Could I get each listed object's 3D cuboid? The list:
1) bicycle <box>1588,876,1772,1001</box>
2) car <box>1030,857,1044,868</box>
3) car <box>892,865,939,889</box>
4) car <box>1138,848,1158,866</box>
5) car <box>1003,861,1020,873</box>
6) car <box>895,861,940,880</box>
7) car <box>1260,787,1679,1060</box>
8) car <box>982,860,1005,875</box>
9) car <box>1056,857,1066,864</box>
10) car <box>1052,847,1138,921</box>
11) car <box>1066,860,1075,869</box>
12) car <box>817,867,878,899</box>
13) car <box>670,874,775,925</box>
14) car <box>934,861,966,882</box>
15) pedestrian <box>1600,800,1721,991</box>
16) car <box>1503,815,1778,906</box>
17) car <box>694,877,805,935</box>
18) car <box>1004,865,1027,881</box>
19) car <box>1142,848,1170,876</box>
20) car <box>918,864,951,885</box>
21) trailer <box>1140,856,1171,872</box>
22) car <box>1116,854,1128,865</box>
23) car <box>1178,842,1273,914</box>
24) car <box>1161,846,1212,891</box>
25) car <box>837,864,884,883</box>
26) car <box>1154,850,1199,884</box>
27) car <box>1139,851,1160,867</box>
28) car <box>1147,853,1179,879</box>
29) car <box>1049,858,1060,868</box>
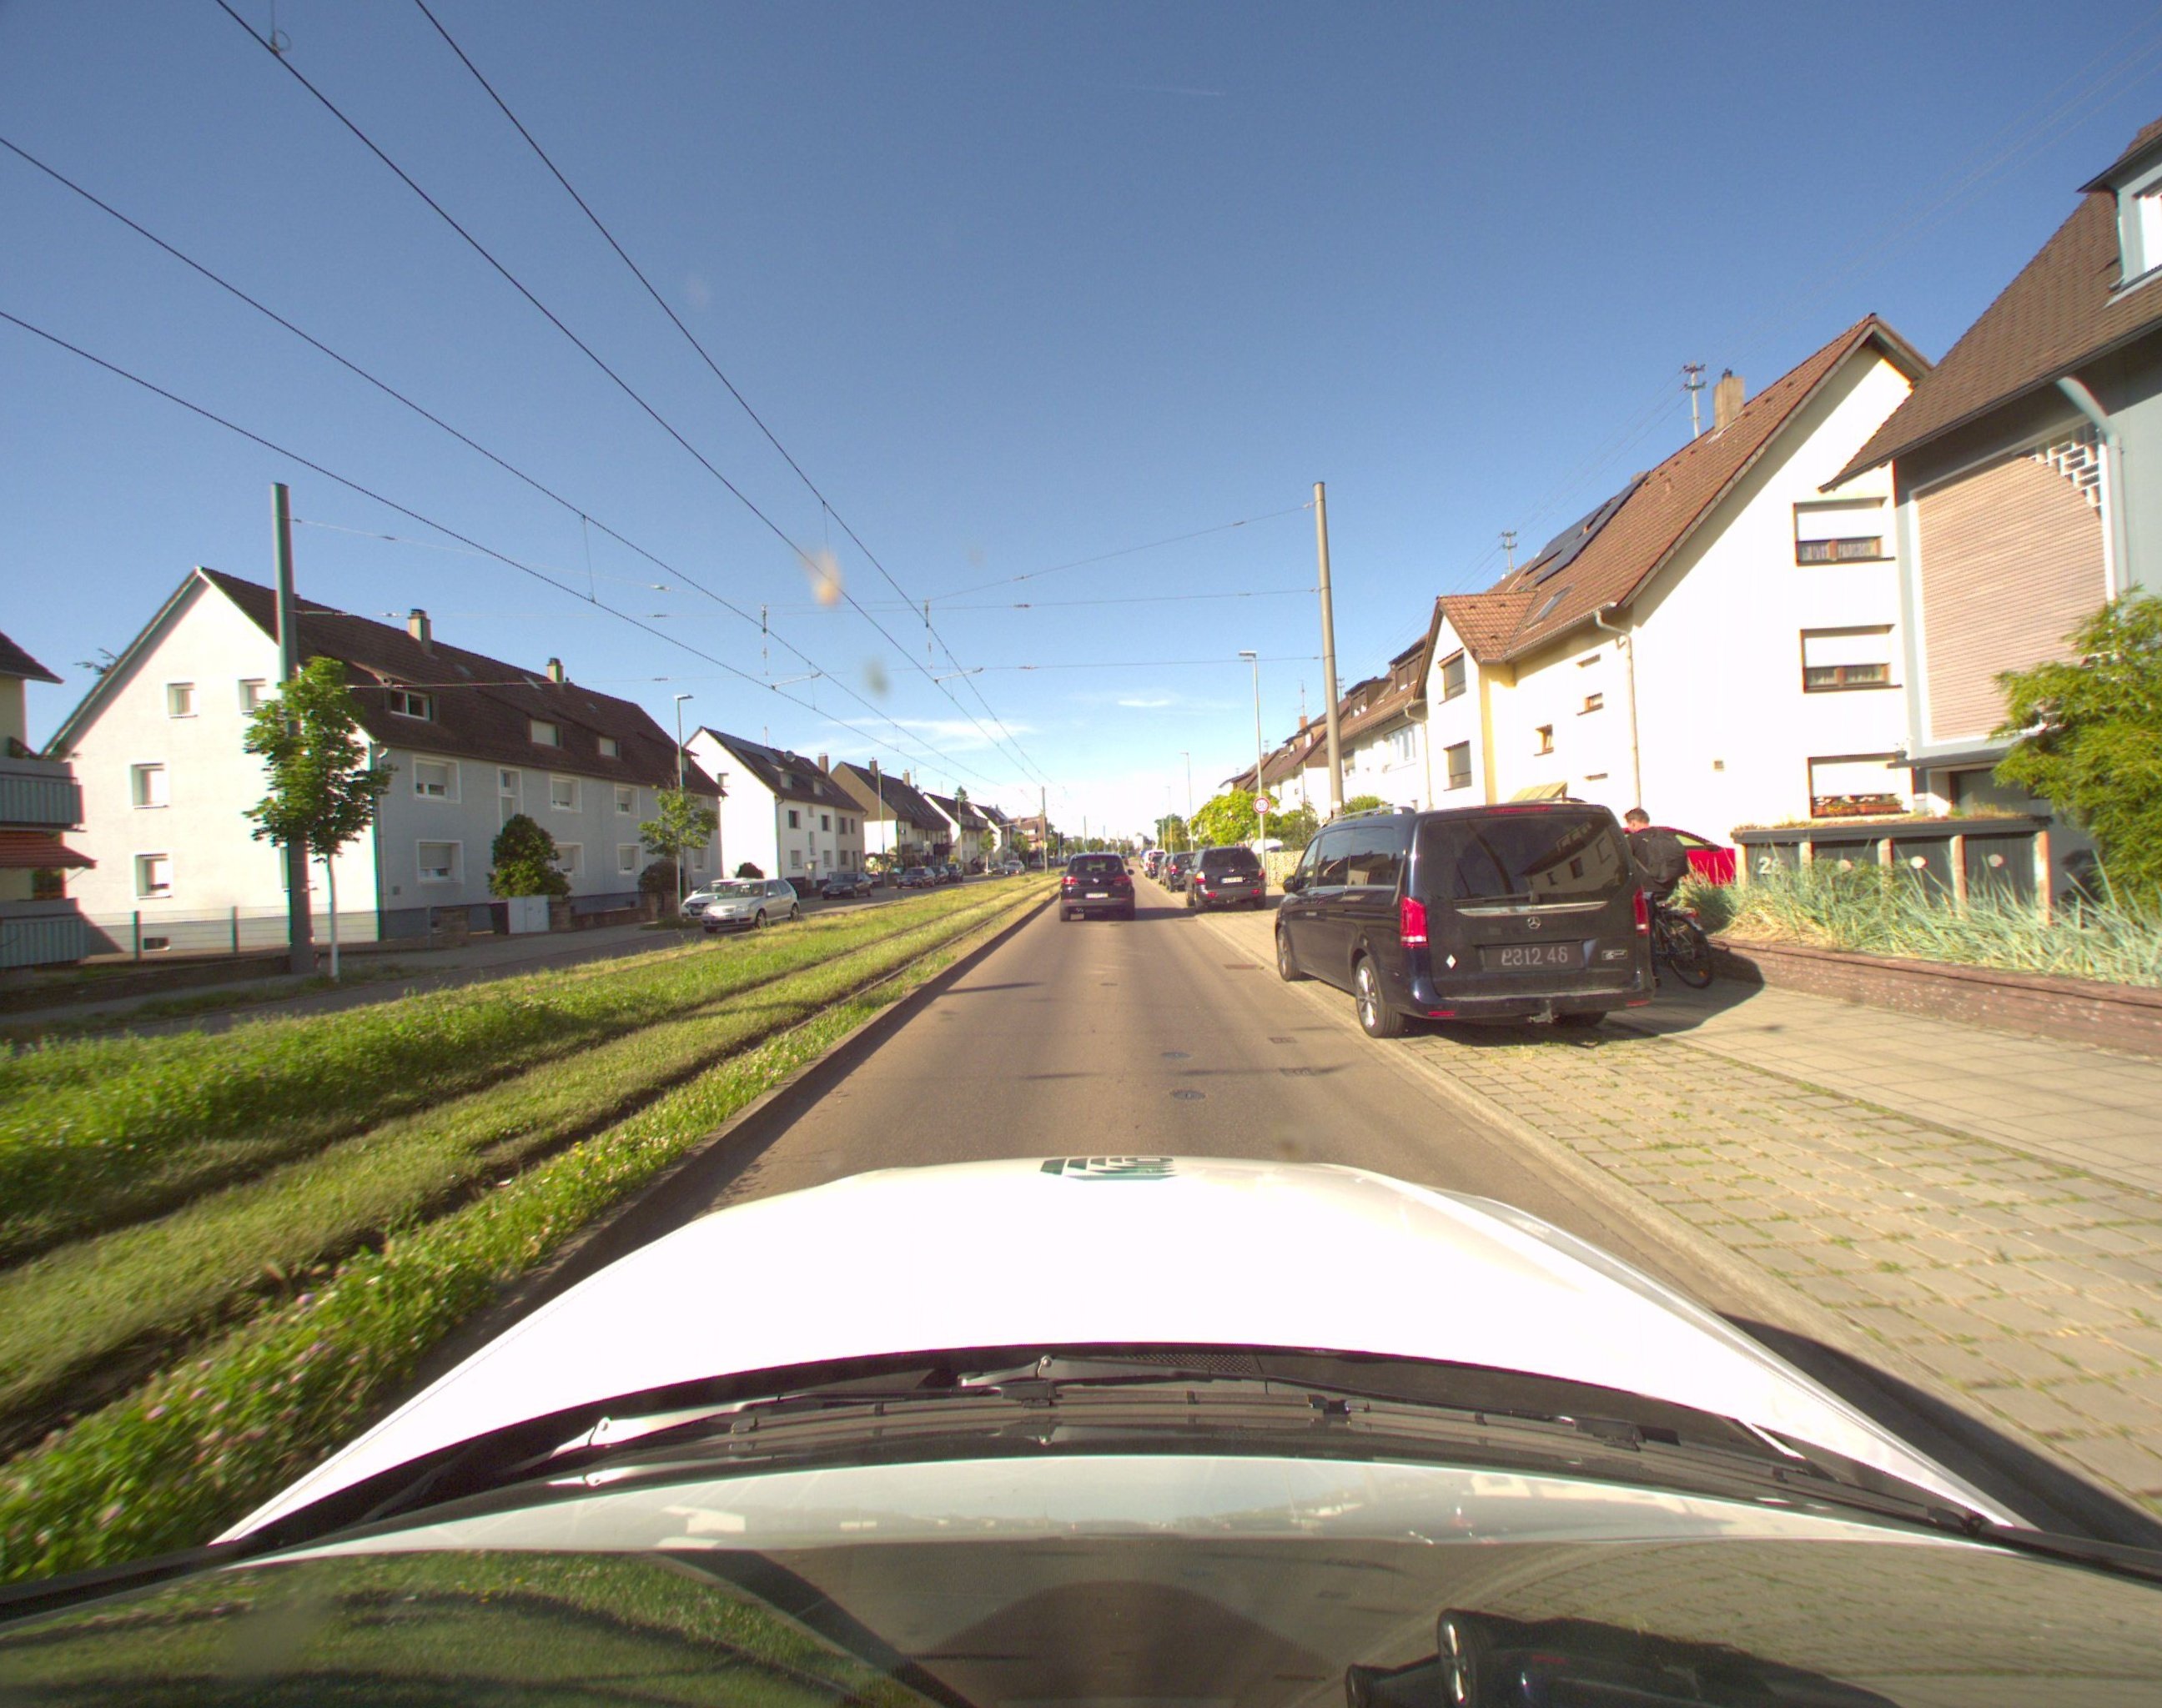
[{"bbox_3d":[5.576,0.739,7.700,0.598,0.979,1.564,-5,-1,4],"label":"bicycle"},{"bbox_3d":[-6.787,1.303,126.032,1.652,1.496,3.583,-3,0,3],"label":"car"},{"bbox_3d":[-11.681,1.584,57.803,1.868,1.523,4.888,-2,0,5],"label":"car"},{"bbox_3d":[7.325,0.336,90.051,1.985,1.862,4.921,-3,0,3],"label":"car"},{"bbox_3d":[-8.758,1.615,102.933,1.612,1.409,3.720,-3,-2,3],"label":"car"},{"bbox_3d":[-16.630,1.684,82.840,4.154,1.616,1.758,-3,0,-2],"label":"car"},{"bbox_3d":[3.303,0.504,8.259,1.954,1.836,4.929,-3,0,2],"label":"car"},{"bbox_3d":[-9.640,1.508,90.204,1.610,1.453,3.726,-3,0,8],"label":"car"},{"bbox_3d":[-3.790,1.227,153.707,1.509,1.361,3.592,-3,0,2],"label":"car"},{"bbox_3d":[0.250,0.718,21.038,1.808,1.671,4.251,-1,-1,-4],"label":"car"},{"bbox_3d":[-2.193,2.233,171.048,1.459,1.677,3.290,-3,-1,3],"label":"car"},{"bbox_3d":[-12.431,1.527,43.674,1.783,1.462,4.170,-3,0,3],"label":"car"},{"bbox_3d":[-12.915,1.586,29.642,1.685,1.518,4.218,-3,0,3],"label":"car"},{"bbox_3d":[-11.032,1.474,68.792,1.797,1.597,4.811,-3,0,0],"label":"car"},{"bbox_3d":[5.562,0.382,7.856,0.580,1.723,0.715,-3,0,3],"label":"pedestrian"},{"bbox_3d":[11.010,0.116,16.270,4.150,1.467,1.900,-3,1,1],"label":"car"},{"bbox_3d":[-9.692,1.471,24.100,1.543,1.412,3.662,-3,0,3],"label":"car"},{"bbox_3d":[-6.684,1.925,83.334,1.701,1.490,4.027,-3,-2,3],"label":"car"},{"bbox_3d":[5.177,0.519,56.814,1.682,1.776,4.660,-3,0,3],"label":"car"},{"bbox_3d":[-11.356,1.571,63.275,1.514,1.475,4.205,-3,0,3],"label":"car"},{"bbox_3d":[6.064,0.811,66.642,2.195,1.093,4.374,-5,0,2],"label":"trailer"},{"bbox_3d":[5.595,0.792,110.211,1.566,1.391,3.617,-3,0,3],"label":"car"},{"bbox_3d":[3.808,0.593,22.161,1.847,1.659,4.475,-3,0,2],"label":"car"},{"bbox_3d":[4.186,0.544,32.727,1.659,1.547,3.839,-5,0,4],"label":"car"},{"bbox_3d":[-22.441,2.005,82.883,4.138,1.654,1.860,-3,0,5],"label":"car"},{"bbox_3d":[4.473,0.601,38.702,1.610,1.475,4.450,-3,-1,1],"label":"car"},{"bbox_3d":[7.030,0.525,83.678,1.780,1.441,4.460,-5,0,1],"label":"car"},{"bbox_3d":[5.065,0.749,50.662,1.664,1.453,4.128,-3,-1,3],"label":"car"},{"bbox_3d":[-4.828,1.639,148.350,1.653,1.581,4.003,-3,-2,3],"label":"car"}]
